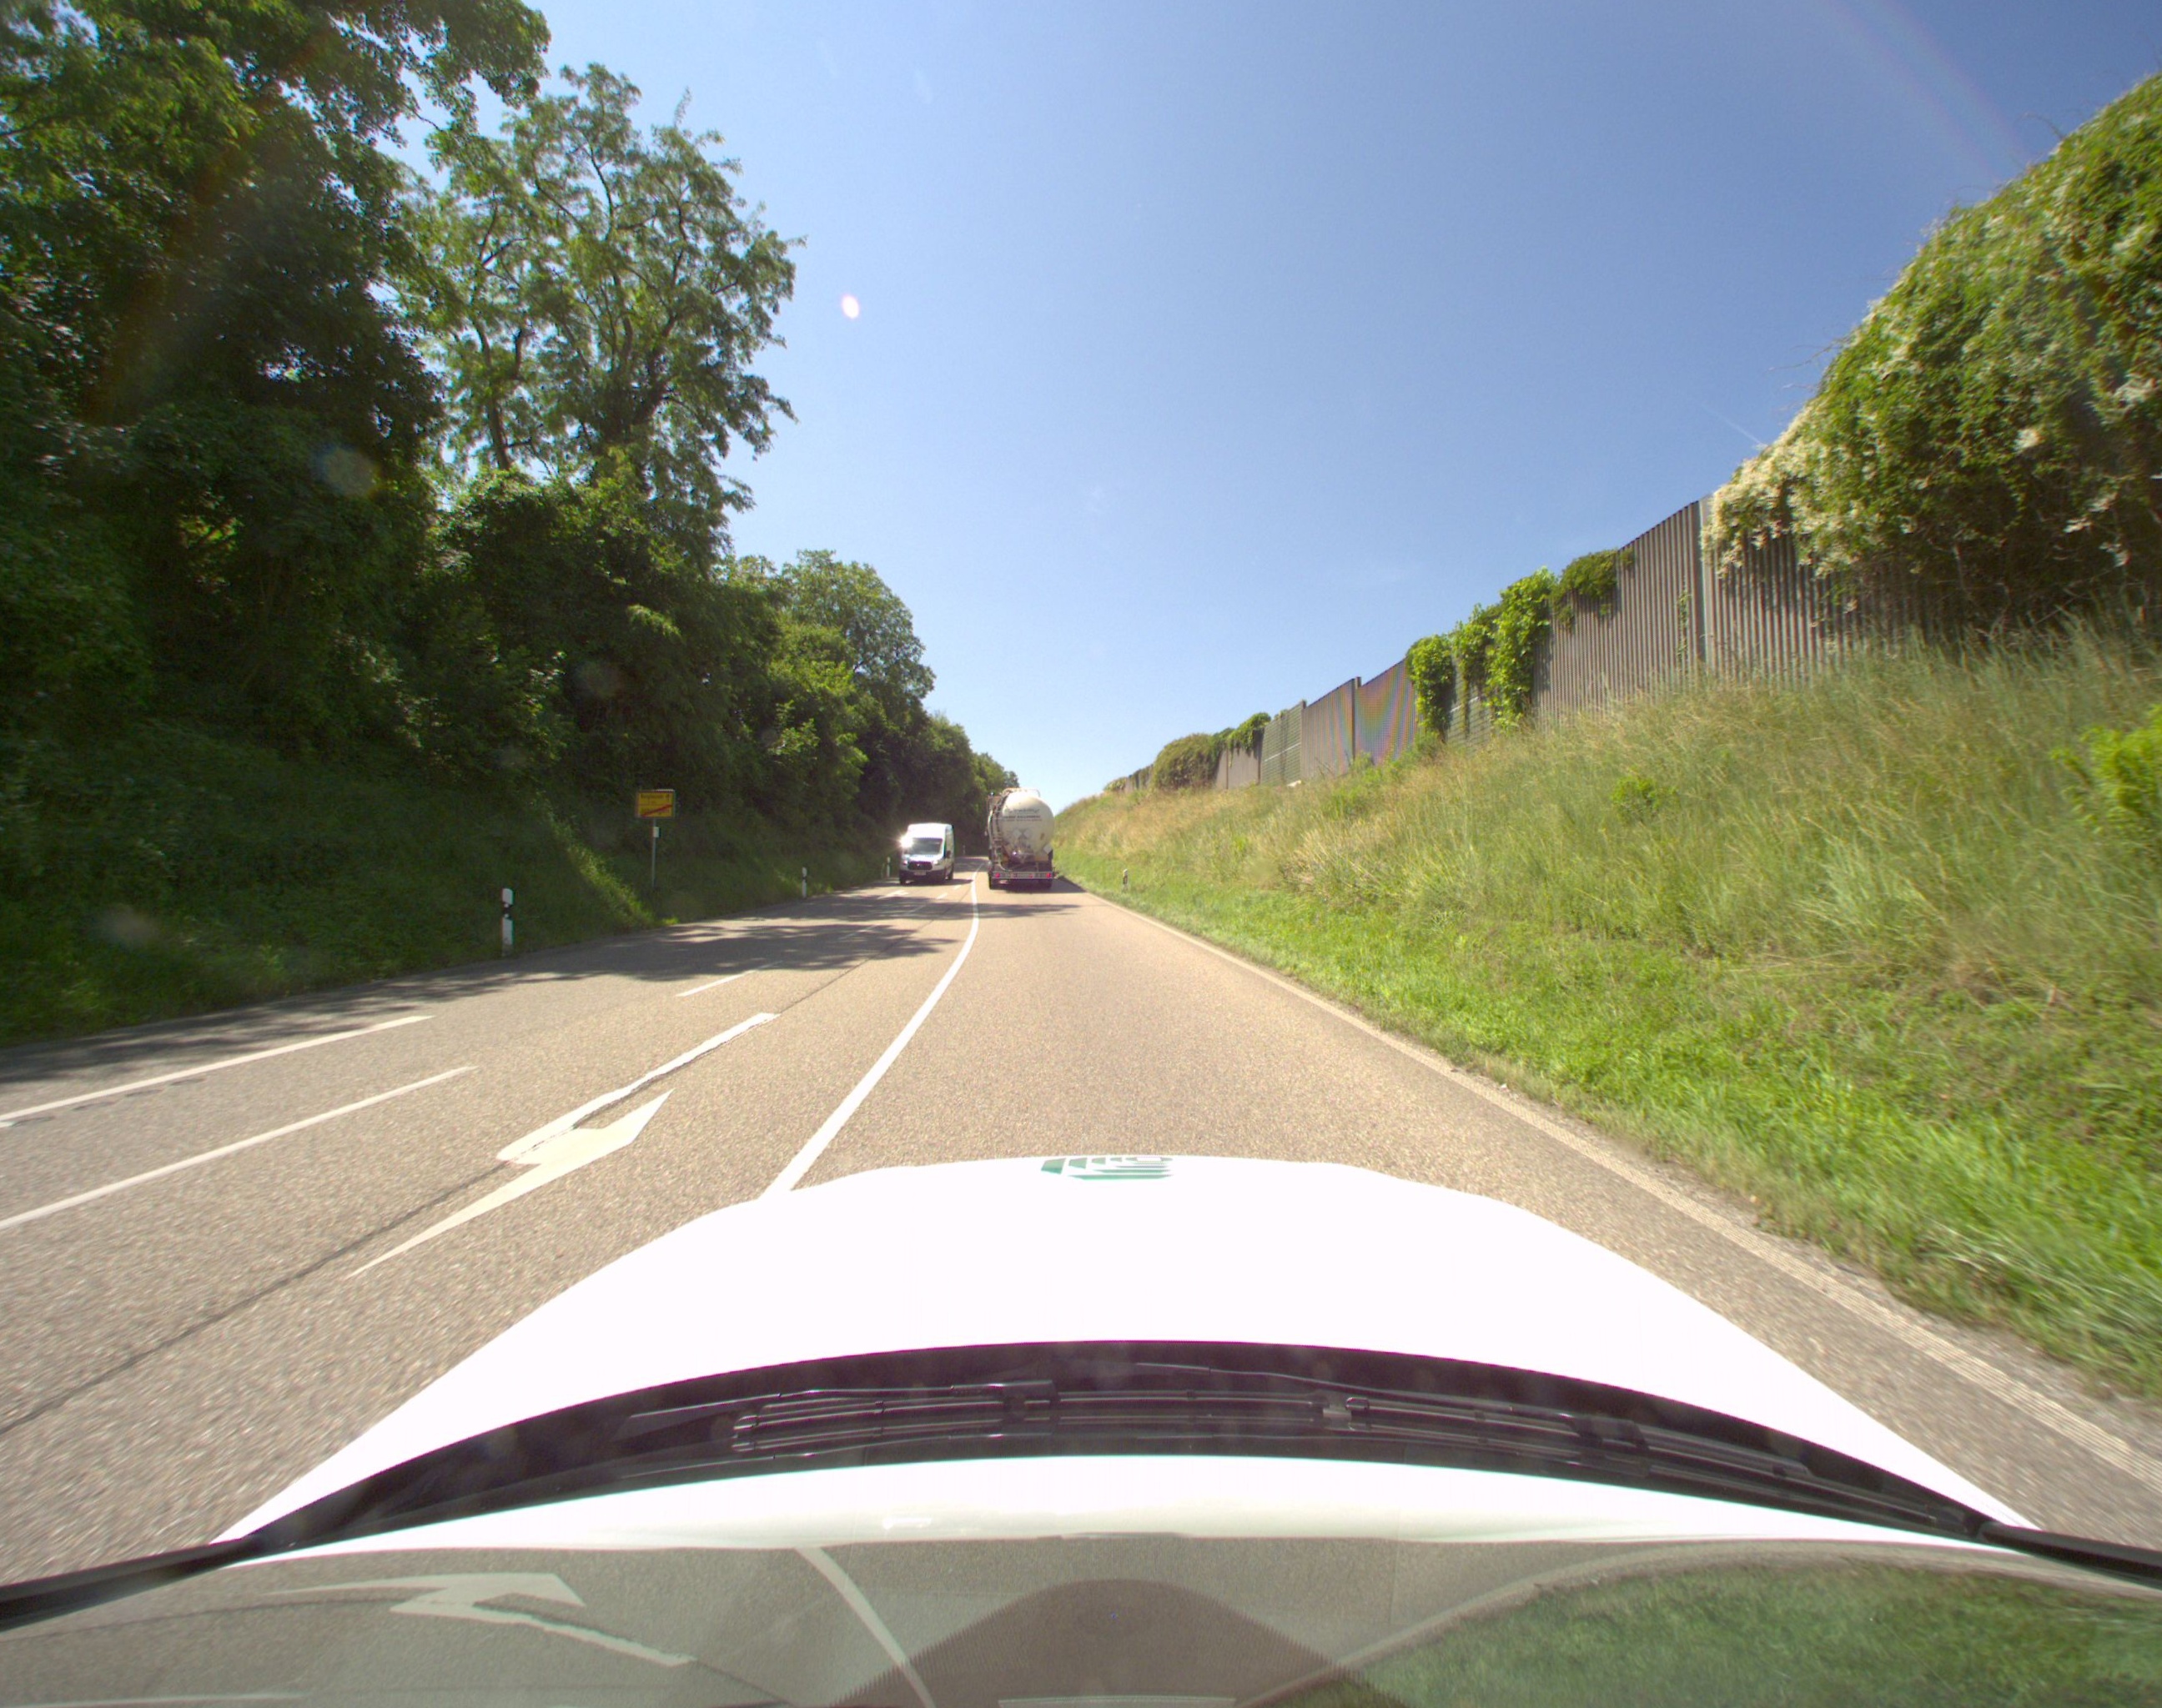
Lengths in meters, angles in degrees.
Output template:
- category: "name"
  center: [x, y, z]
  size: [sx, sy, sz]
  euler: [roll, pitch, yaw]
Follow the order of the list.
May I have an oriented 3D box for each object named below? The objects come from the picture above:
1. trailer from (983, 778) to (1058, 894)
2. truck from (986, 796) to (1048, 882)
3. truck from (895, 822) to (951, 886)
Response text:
- category: "trailer"
  center: [-2.782, -0.789, 35.766]
  size: [2.657, 4.188, 11.881]
  euler: [-1, 1, -6]
- category: "truck"
  center: [-3.360, -0.759, 41.398]
  size: [2.725, 3.929, 7.246]
  euler: [-1, 1, -7]
- category: "truck"
  center: [-7.263, -0.055, 37.937]
  size: [2.051, 2.686, 5.966]
  euler: [-2, 1, -7]
